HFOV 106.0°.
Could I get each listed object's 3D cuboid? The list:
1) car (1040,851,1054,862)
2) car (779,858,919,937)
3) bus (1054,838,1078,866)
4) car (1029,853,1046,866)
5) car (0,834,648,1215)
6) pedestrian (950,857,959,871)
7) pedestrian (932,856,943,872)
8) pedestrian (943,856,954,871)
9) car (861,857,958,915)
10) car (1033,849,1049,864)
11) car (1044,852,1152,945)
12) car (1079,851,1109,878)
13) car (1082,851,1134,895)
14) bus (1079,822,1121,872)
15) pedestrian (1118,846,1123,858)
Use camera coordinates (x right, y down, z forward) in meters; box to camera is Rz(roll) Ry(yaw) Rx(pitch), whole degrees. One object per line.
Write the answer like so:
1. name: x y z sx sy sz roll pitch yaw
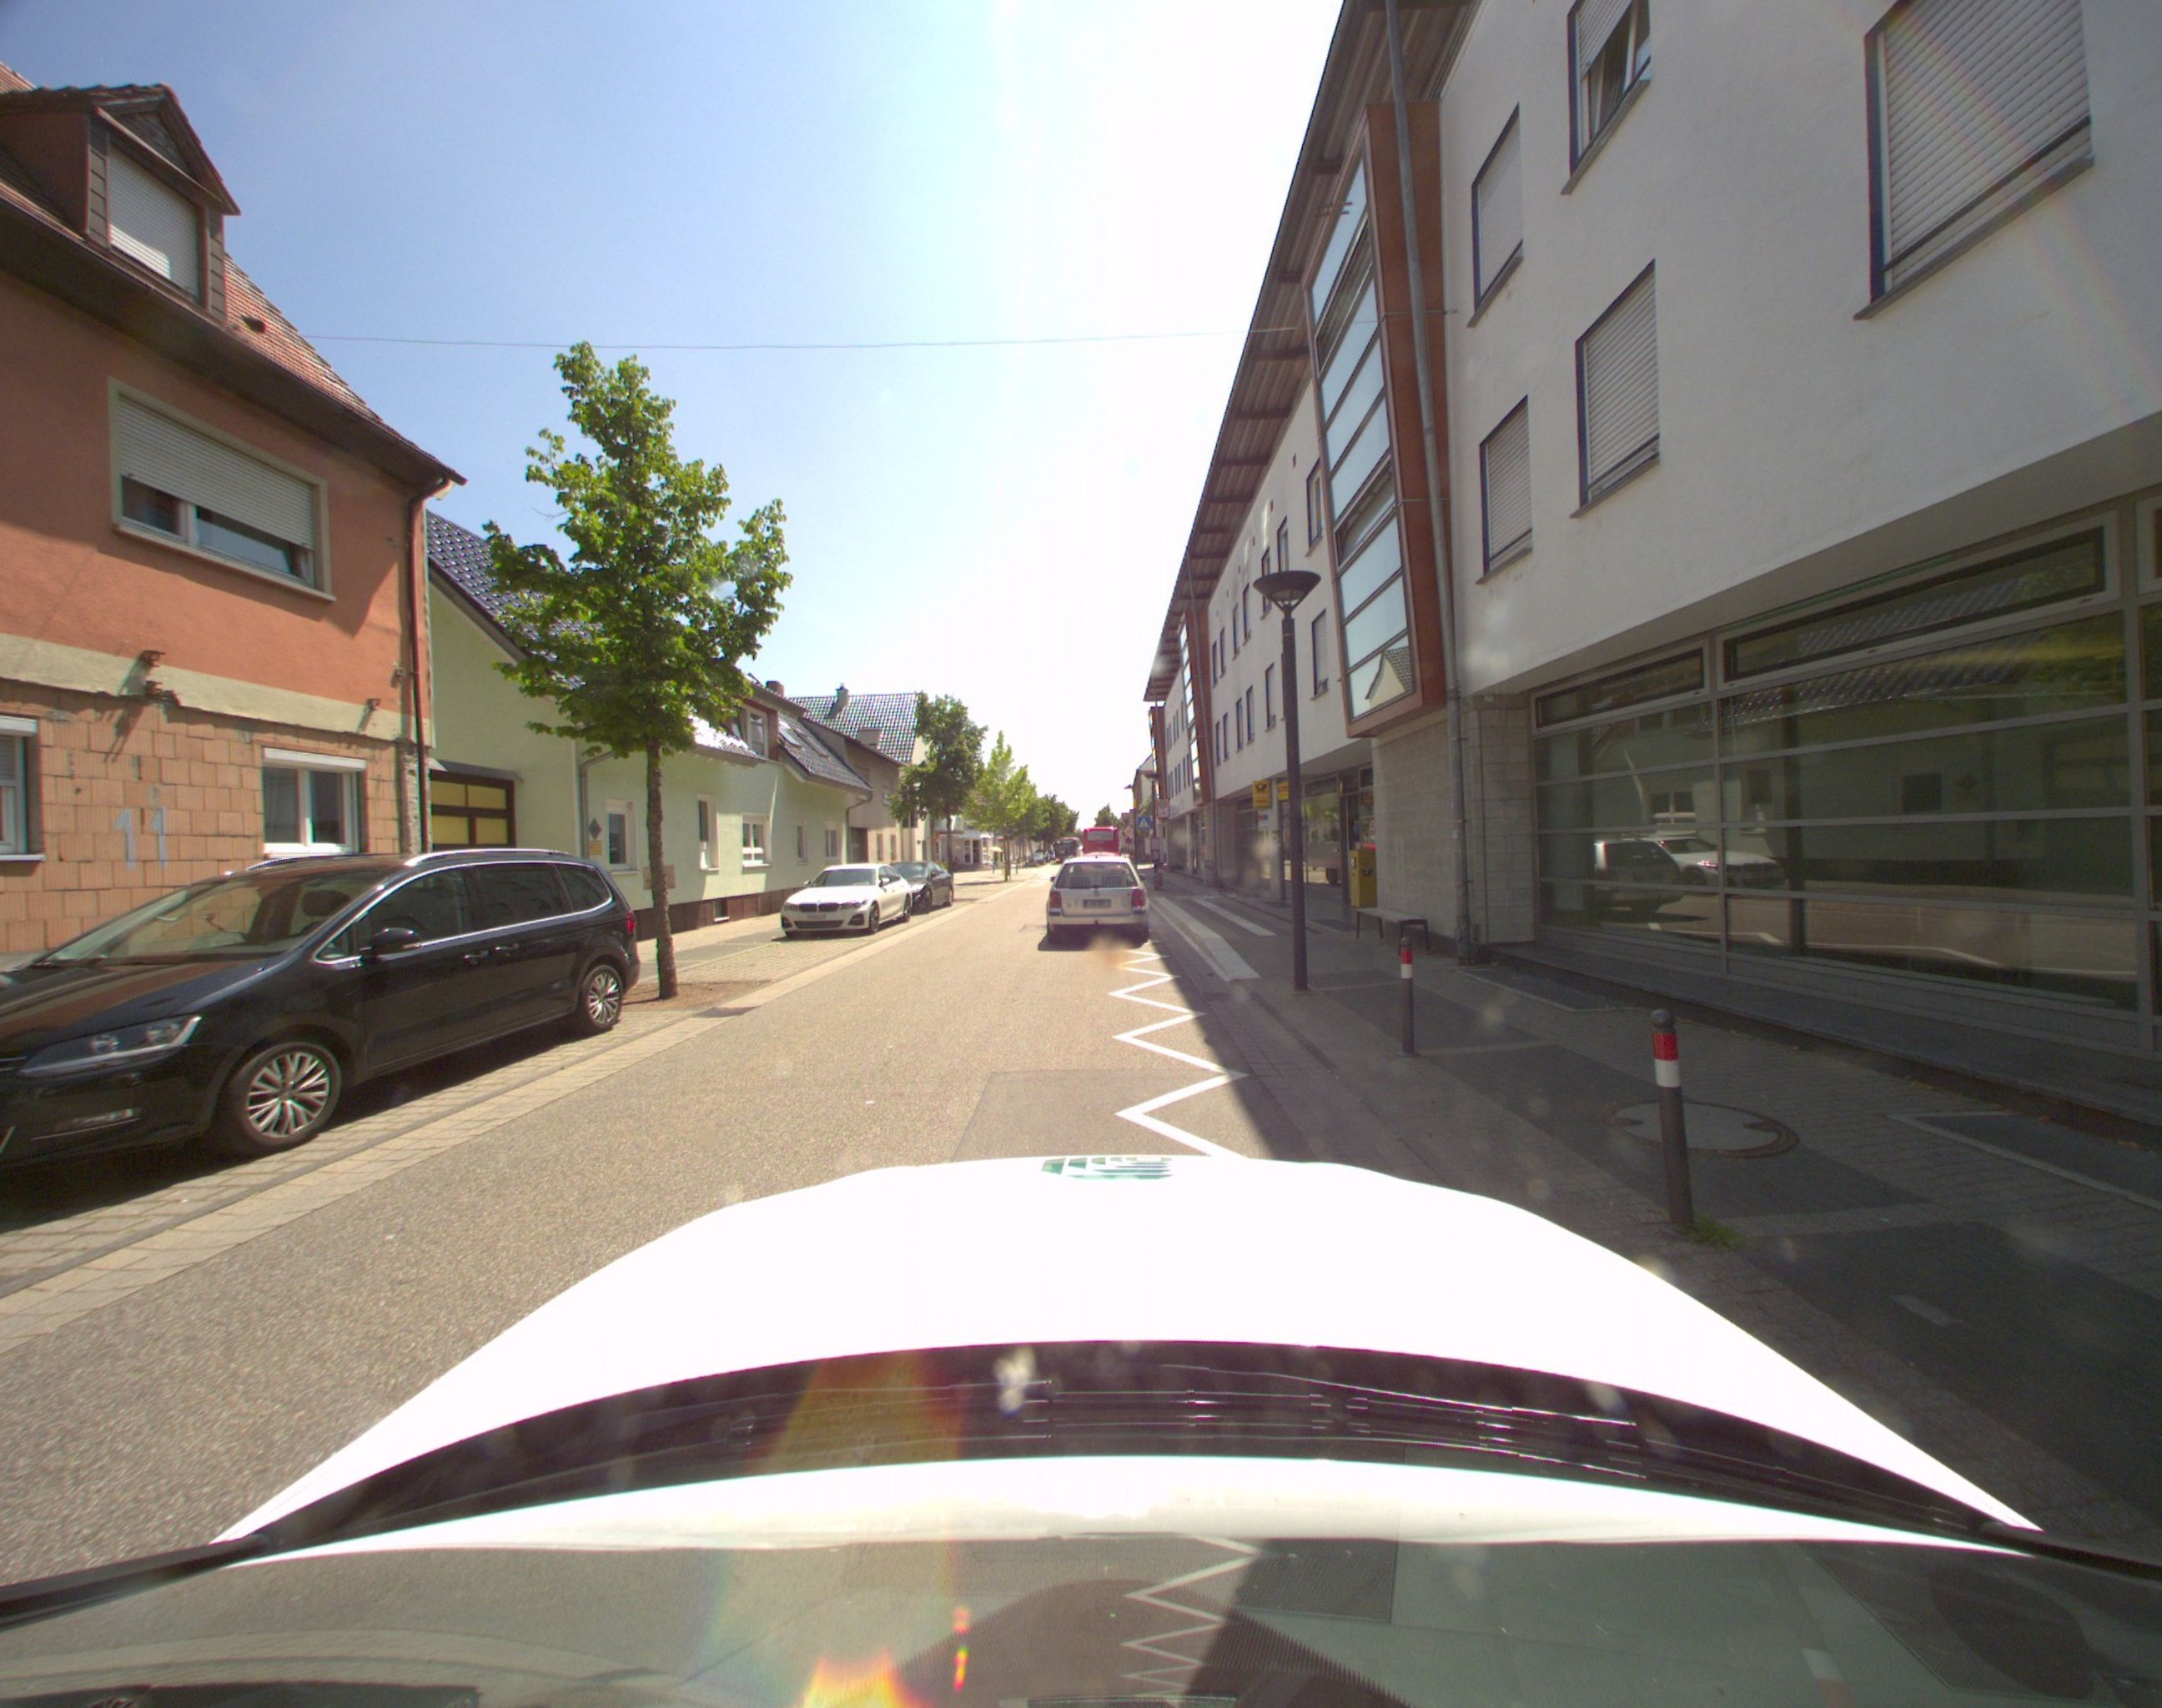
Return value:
1. car: -4.942 0.380 119.294 1.805 1.559 4.000 -2 0 1
2. car: -4.985 0.862 18.149 1.714 1.436 4.460 -2 0 1
3. bus: -1.861 -0.382 103.847 2.661 3.123 17.799 -2 1 -1
4. car: -4.903 0.580 92.600 1.600 1.438 4.065 -2 0 1
5. car: -5.329 0.791 5.983 1.769 1.726 4.520 -2 0 1
6. pedestrian: -10.692 0.864 68.917 0.620 1.179 0.696 -2 0 -3
7. pedestrian: -11.983 0.830 68.008 0.639 1.289 0.780 1 0 -43
8. pedestrian: -11.009 0.783 67.683 0.639 1.289 0.780 1 0 -43
9. car: -4.857 0.861 23.690 1.654 1.437 4.540 -2 0 2
10. car: -5.107 0.307 104.111 1.758 1.838 3.789 -2 0 1
11. car: 0.298 0.692 14.667 1.671 1.430 3.680 1 0 1
12. car: 0.753 0.557 45.843 1.587 1.430 3.681 0 0 2
13. car: 0.917 0.626 28.439 1.671 1.430 3.680 0 0 1
14. bus: 1.292 -0.474 61.843 2.732 3.298 12.701 -1 0 0
15. pedestrian: 5.840 -0.299 120.890 0.604 1.667 0.789 -2 0 -1
